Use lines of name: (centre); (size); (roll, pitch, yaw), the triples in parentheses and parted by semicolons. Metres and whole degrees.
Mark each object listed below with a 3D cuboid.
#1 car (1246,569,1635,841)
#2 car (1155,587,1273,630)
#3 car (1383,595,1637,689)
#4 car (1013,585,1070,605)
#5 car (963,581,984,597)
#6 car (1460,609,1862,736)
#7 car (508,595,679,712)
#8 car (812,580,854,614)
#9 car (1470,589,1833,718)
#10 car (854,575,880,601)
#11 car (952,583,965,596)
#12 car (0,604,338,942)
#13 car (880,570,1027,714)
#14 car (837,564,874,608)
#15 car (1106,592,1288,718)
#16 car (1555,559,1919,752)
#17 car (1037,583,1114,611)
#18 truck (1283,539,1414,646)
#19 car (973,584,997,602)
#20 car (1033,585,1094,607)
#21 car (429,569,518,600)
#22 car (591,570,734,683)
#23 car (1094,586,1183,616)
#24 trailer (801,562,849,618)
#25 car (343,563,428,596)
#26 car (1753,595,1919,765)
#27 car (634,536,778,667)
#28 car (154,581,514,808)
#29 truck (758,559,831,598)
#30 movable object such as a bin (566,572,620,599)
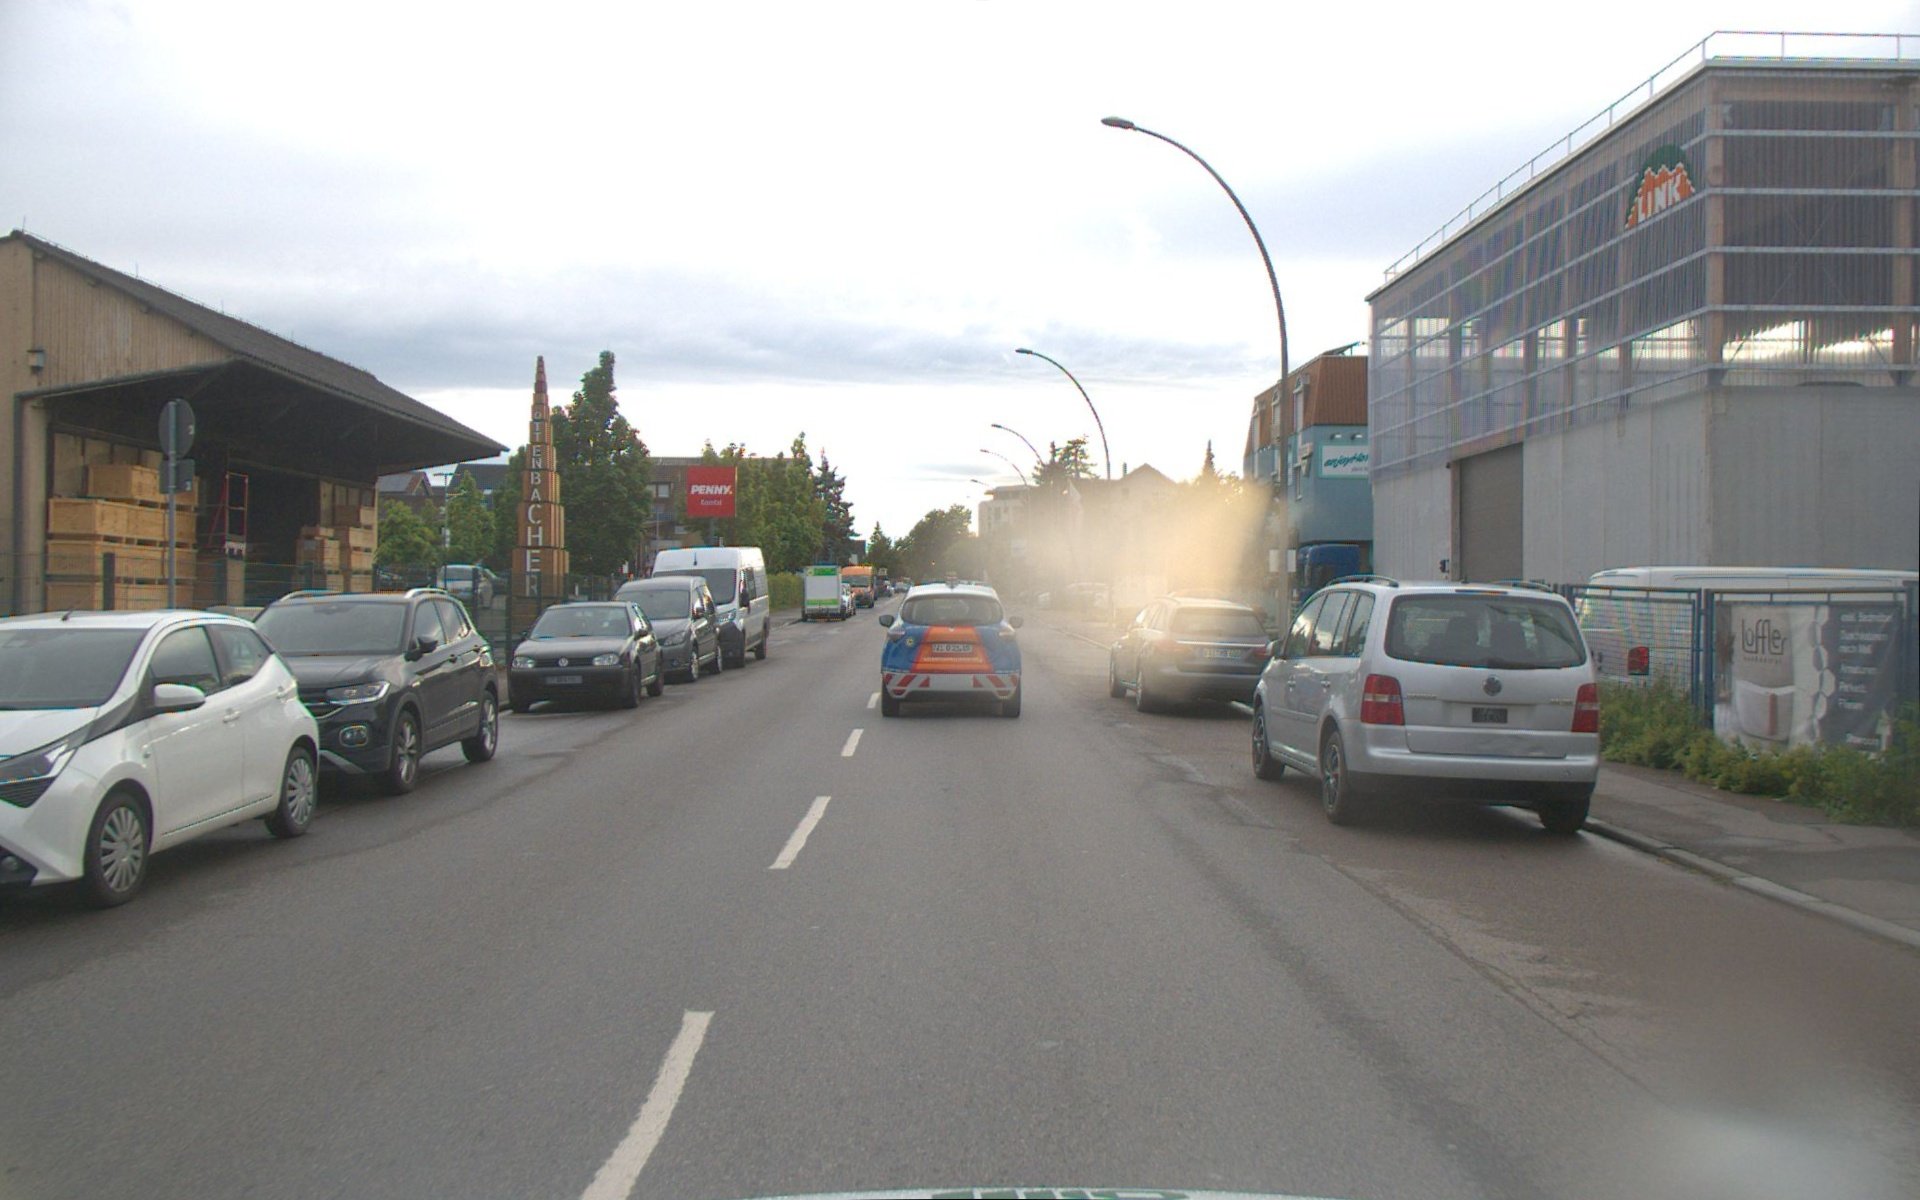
car: (3.368, 0.651, 12.484); (1.703, 1.650, 4.373); (1, 0, 1)
car: (9.040, 0.304, 58.975); (3.907, 1.455, 1.630); (1, 0, -3)
car: (10.305, 0.772, 31.201); (4.157, 1.563, 1.811); (2, 0, -1)
car: (5.909, -0.354, 120.165); (3.907, 1.288, 1.950); (1, 0, -3)
car: (1.262, -1.010, 157.392); (1.677, 1.463, 4.523); (1, 0, -3)
car: (8.662, 0.874, 20.675); (4.233, 1.403, 1.849); (1, 0, -2)
car: (-5.110, 0.684, 23.566); (1.628, 1.474, 4.315); (-1, 0, -3)
car: (-5.974, -0.149, 78.071); (1.736, 1.525, 4.136); (0, 1, -2)
car: (9.726, 0.733, 23.483); (4.356, 1.653, 1.893); (1, 0, -2)
car: (-7.546, -0.977, 135.119); (1.953, 1.981, 5.364); (1, 0, -2)
car: (-0.176, -1.461, 227.721); (1.617, 1.701, 3.998); (1, 0, -3)
car: (-5.024, 0.812, 9.414); (1.583, 1.535, 3.660); (-1, 0, -1)
car: (-0.125, 0.489, 20.901); (1.696, 1.659, 3.493); (0, 0, -2)
car: (-6.448, -0.888, 102.938); (2.082, 2.582, 6.020); (-1, 1, -2)
car: (3.092, 0.665, 22.422); (1.703, 1.492, 4.545); (1, 0, -1)
car: (9.201, 0.594, 18.085); (4.635, 1.919, 2.000); (1, 0, -1)
car: (6.619, -0.165, 95.340); (4.250, 1.501, 1.902); (1, 0, -2)
truck: (14.750, -0.283, 62.975); (4.062, 3.737, 2.718); (4, 0, -4)
car: (1.869, -0.538, 125.478); (1.558, 1.364, 4.091); (0, 0, -3)
car: (6.789, -0.252, 108.508); (3.905, 1.288, 1.951); (1, 0, 1)
car: (-24.054, -0.779, 81.821); (3.900, 1.411, 1.801); (1, 0, -6)
car: (-5.304, 0.448, 30.003); (1.734, 1.799, 4.445); (-3, 0, -1)
car: (9.127, 0.037, 84.745); (4.326, 1.417, 1.879); (1, 0, -2)
trailer: (-5.943, -0.460, 73.186); (1.776, 2.354, 4.729); (-2, 1, -2)
car: (-30.398, -1.062, 87.555); (3.913, 1.634, 1.769); (1, 0, -9)
car: (9.967, 0.747, 15.593); (4.020, 1.482, 2.000); (1, 0, -1)
car: (-5.350, 0.007, 35.794); (2.114, 2.469, 6.458); (-3, 0, -1)
car: (-5.098, 0.684, 14.046); (1.627, 1.612, 3.915); (-2, 0, -2)
truck: (-13.749, -1.770, 137.507); (5.791, 3.127, 2.449); (1, 0, -1)
movable object such as a bin: (-25.048, -0.990, 112.973); (3.357, 1.790, 1.997); (1, 0, -8)
